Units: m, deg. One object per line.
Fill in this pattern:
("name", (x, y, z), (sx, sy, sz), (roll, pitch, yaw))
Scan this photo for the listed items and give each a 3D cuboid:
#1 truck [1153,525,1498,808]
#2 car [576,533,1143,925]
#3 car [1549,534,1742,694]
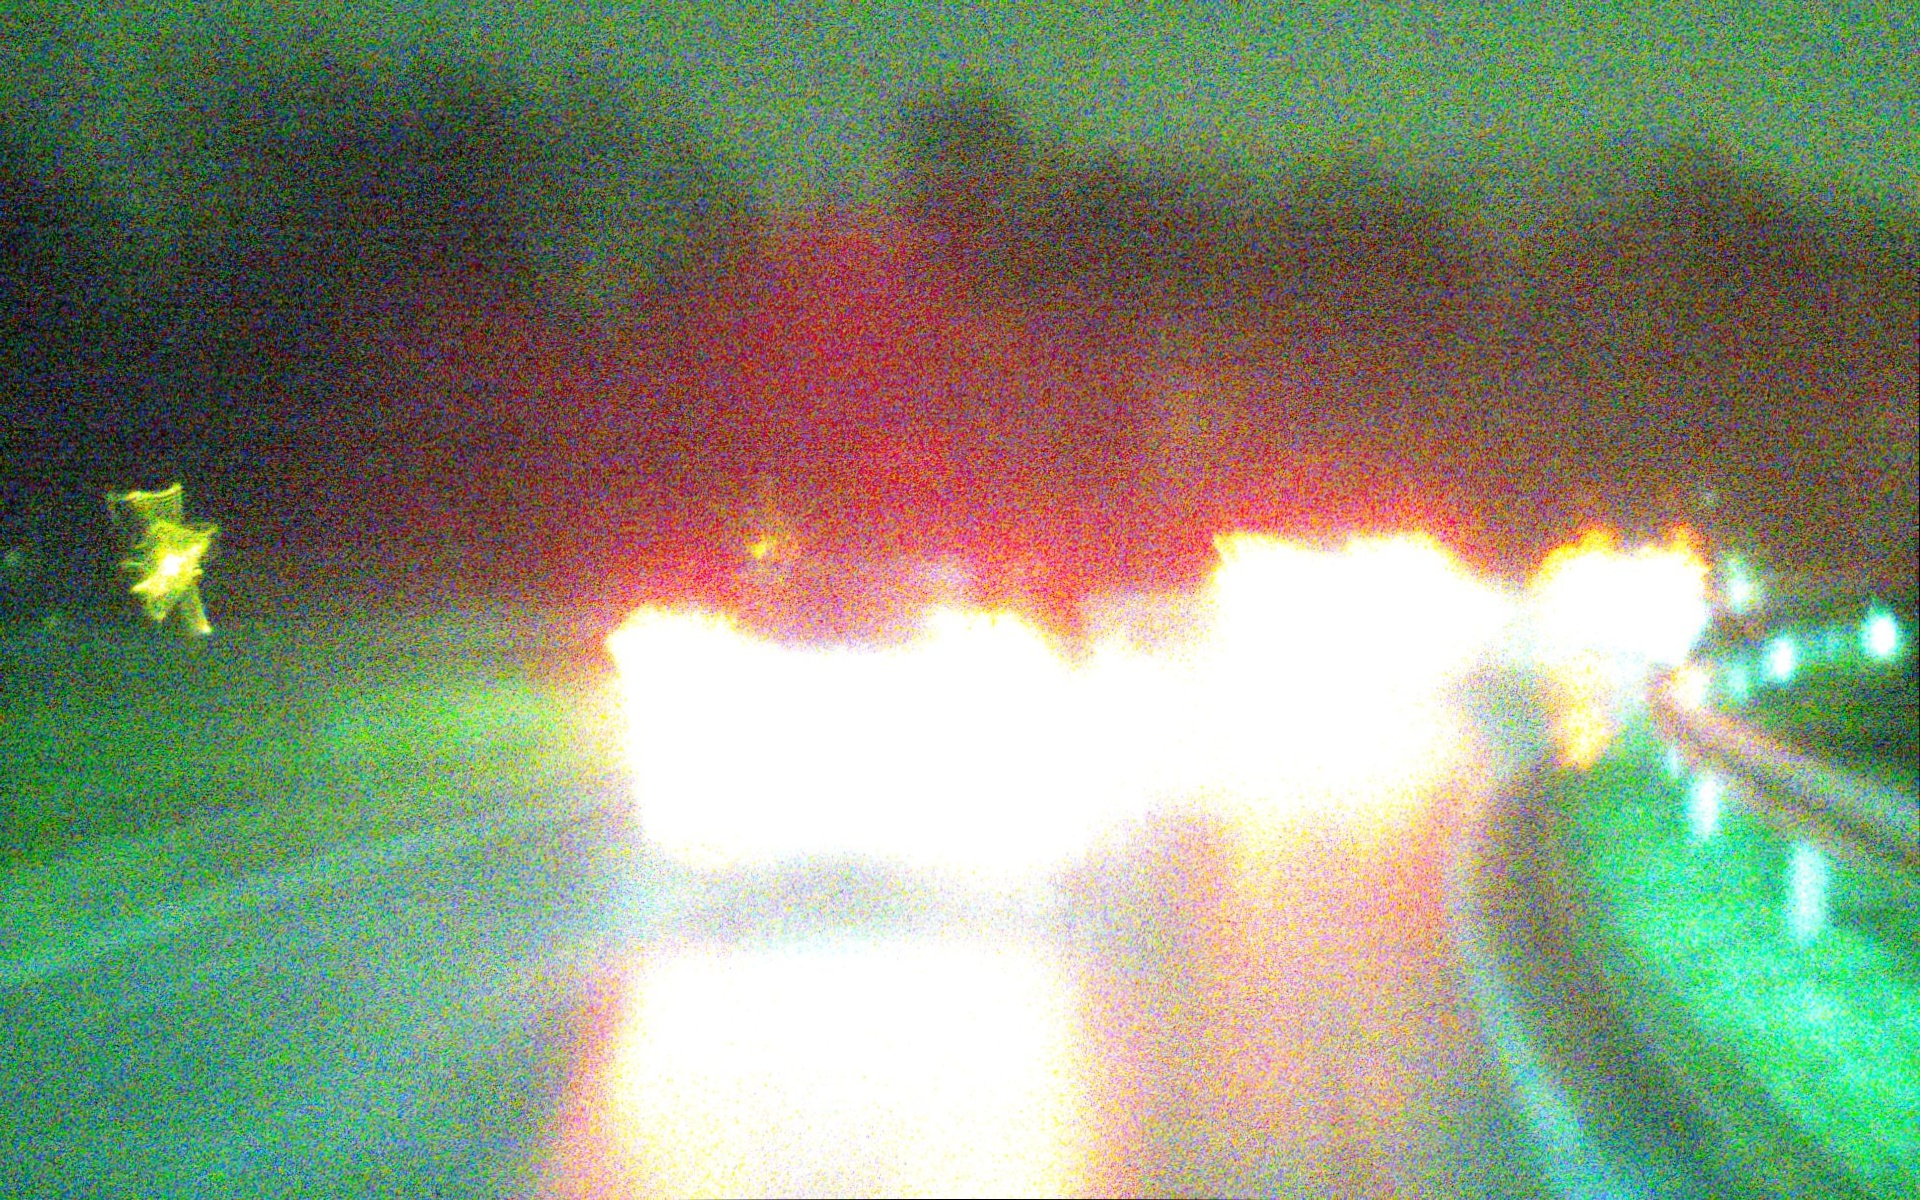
("truck", (3.617, 0.549, 34.473), (3.070, 2.520, 7.165), (0, 1, 5))
("car", (-0.299, 0.485, 15.156), (1.945, 1.486, 3.715), (-1, 0, 7))
("car", (8.792, 0.148, 43.872), (1.838, 1.942, 3.996), (0, 1, 20))
